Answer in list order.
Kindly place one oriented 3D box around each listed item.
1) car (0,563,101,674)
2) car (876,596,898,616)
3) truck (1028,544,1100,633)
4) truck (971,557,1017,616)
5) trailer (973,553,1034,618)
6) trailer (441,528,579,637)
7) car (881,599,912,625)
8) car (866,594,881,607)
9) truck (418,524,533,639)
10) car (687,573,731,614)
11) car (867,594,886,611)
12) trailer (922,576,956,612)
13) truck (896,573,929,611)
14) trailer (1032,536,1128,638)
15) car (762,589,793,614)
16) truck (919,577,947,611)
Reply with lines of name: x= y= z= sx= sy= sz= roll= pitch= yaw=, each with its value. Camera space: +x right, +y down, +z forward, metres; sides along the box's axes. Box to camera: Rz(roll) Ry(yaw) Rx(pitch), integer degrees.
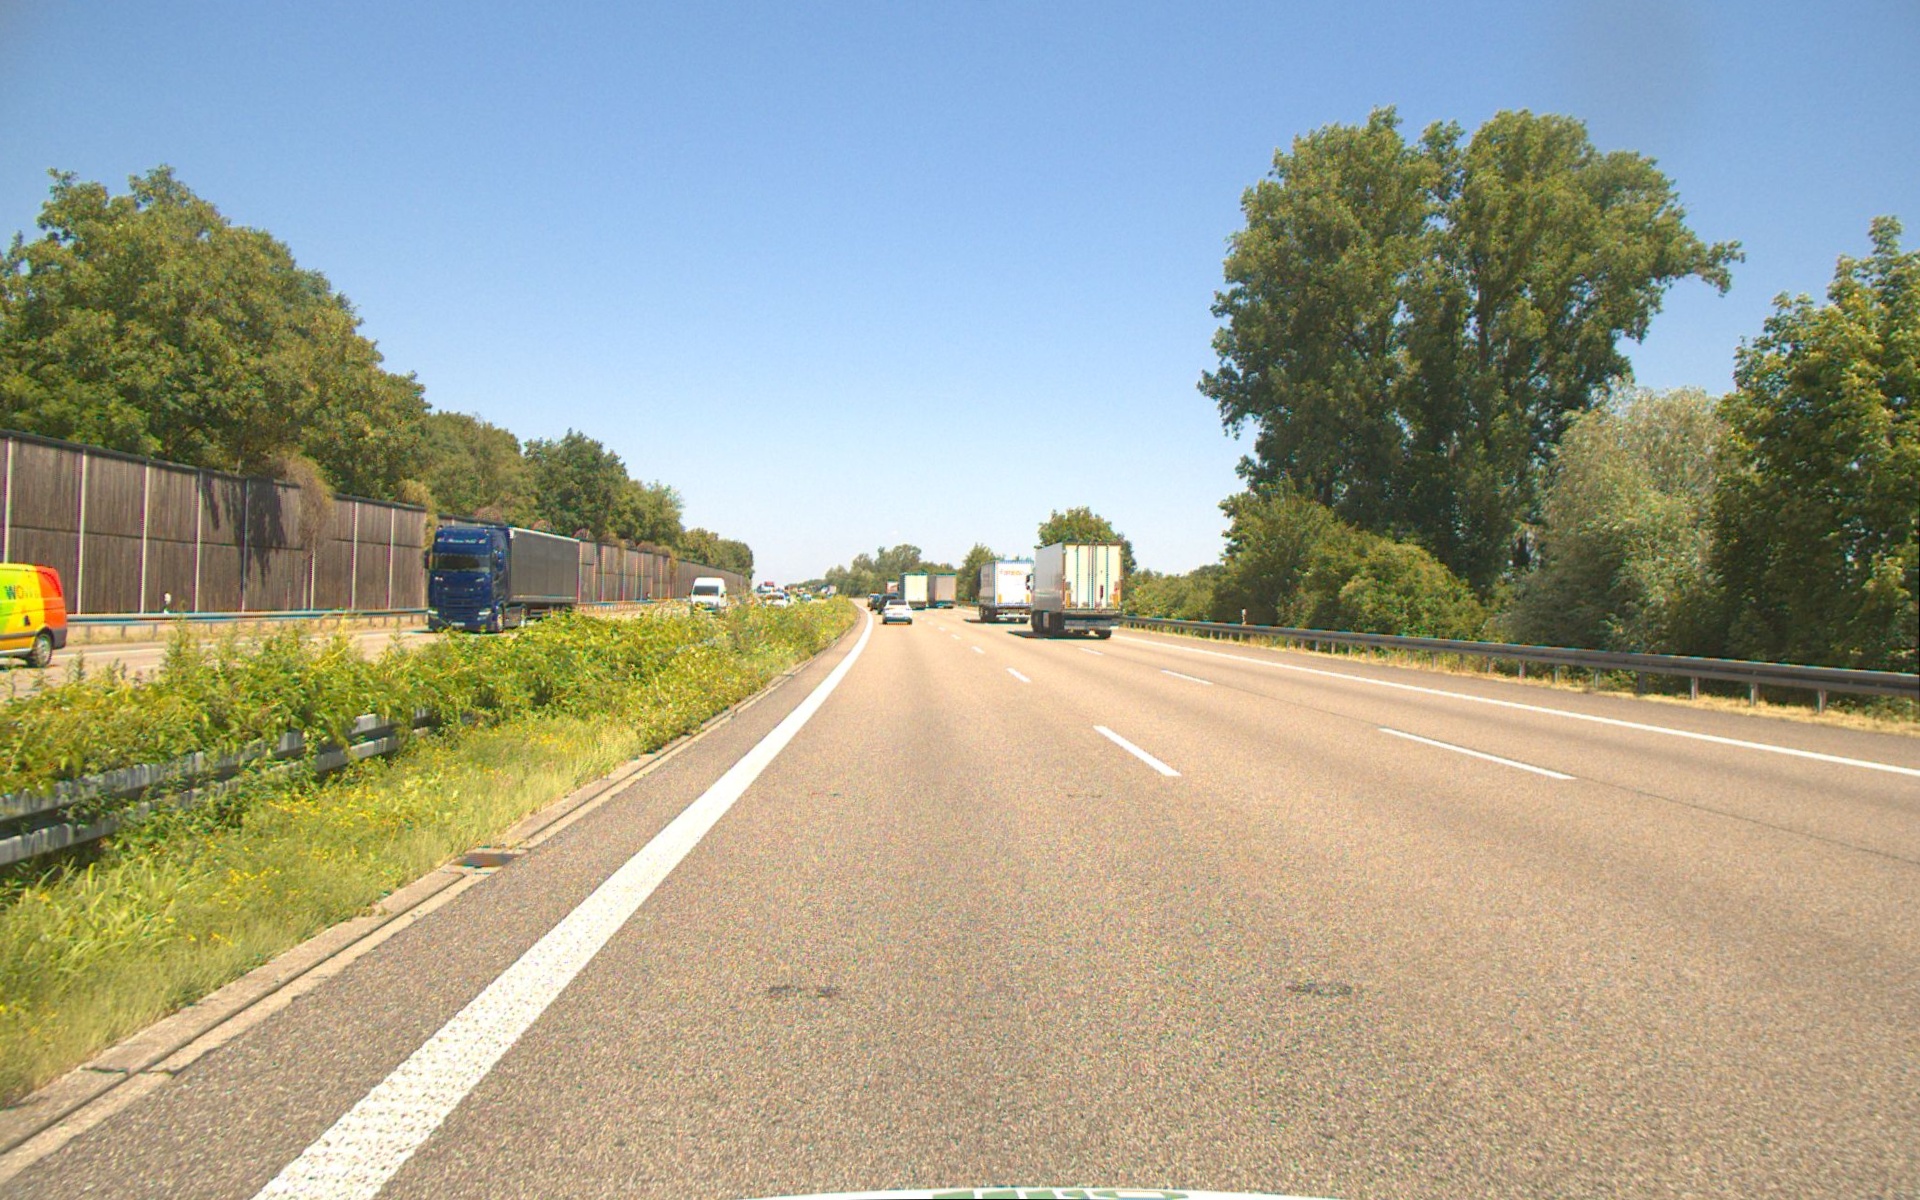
car: x=-17.617 y=0.310 z=29.269 sx=1.954 sy=1.913 sz=5.956 roll=1 pitch=0 yaw=-3
car: x=-6.360 y=0.509 z=144.246 sx=1.818 sy=1.645 sz=3.997 roll=1 pitch=0 yaw=-4
truck: x=5.033 y=-0.558 z=81.131 sx=2.900 sy=4.178 sz=6.204 roll=1 pitch=0 yaw=-2
truck: x=2.459 y=-0.950 z=120.877 sx=2.654 sy=4.160 sz=6.958 roll=1 pitch=0 yaw=-4
trailer: x=2.910 y=-0.922 z=114.850 sx=2.654 sy=4.160 sz=14.137 roll=1 pitch=0 yaw=-5
trailer: x=-18.895 y=-0.634 z=70.557 sx=2.841 sy=4.164 sz=13.324 roll=1 pitch=0 yaw=-3
car: x=-3.898 y=0.739 z=101.361 sx=1.818 sy=1.512 sz=3.997 roll=1 pitch=0 yaw=-4
car: x=-11.141 y=0.042 z=212.167 sx=1.818 sy=1.645 sz=3.997 roll=1 pitch=0 yaw=-4
truck: x=-18.555 y=-0.657 z=63.766 sx=2.841 sy=4.164 sz=6.113 roll=1 pitch=0 yaw=-3
car: x=-16.683 y=-0.420 z=110.355 sx=2.121 sy=2.585 sz=6.786 roll=2 pitch=0 yaw=-3
car: x=-8.629 y=0.248 z=170.875 sx=1.818 sy=1.645 sz=3.997 roll=1 pitch=0 yaw=-4
trailer: x=-2.755 y=-0.726 z=209.655 sx=2.652 sy=4.289 sz=13.188 roll=2 pitch=0 yaw=-8
truck: x=-5.595 y=-0.915 z=192.473 sx=2.655 sy=4.157 sz=13.455 roll=2 pitch=0 yaw=-6
trailer: x=5.243 y=-0.547 z=74.755 sx=2.900 sy=4.178 sz=12.526 roll=1 pitch=0 yaw=-2
car: x=-13.668 y=0.077 z=124.242 sx=1.955 sy=1.750 sz=5.021 roll=2 pitch=0 yaw=-3
truck: x=-3.565 y=-0.726 z=215.692 sx=2.641 sy=4.289 sz=7.824 roll=2 pitch=0 yaw=-8
